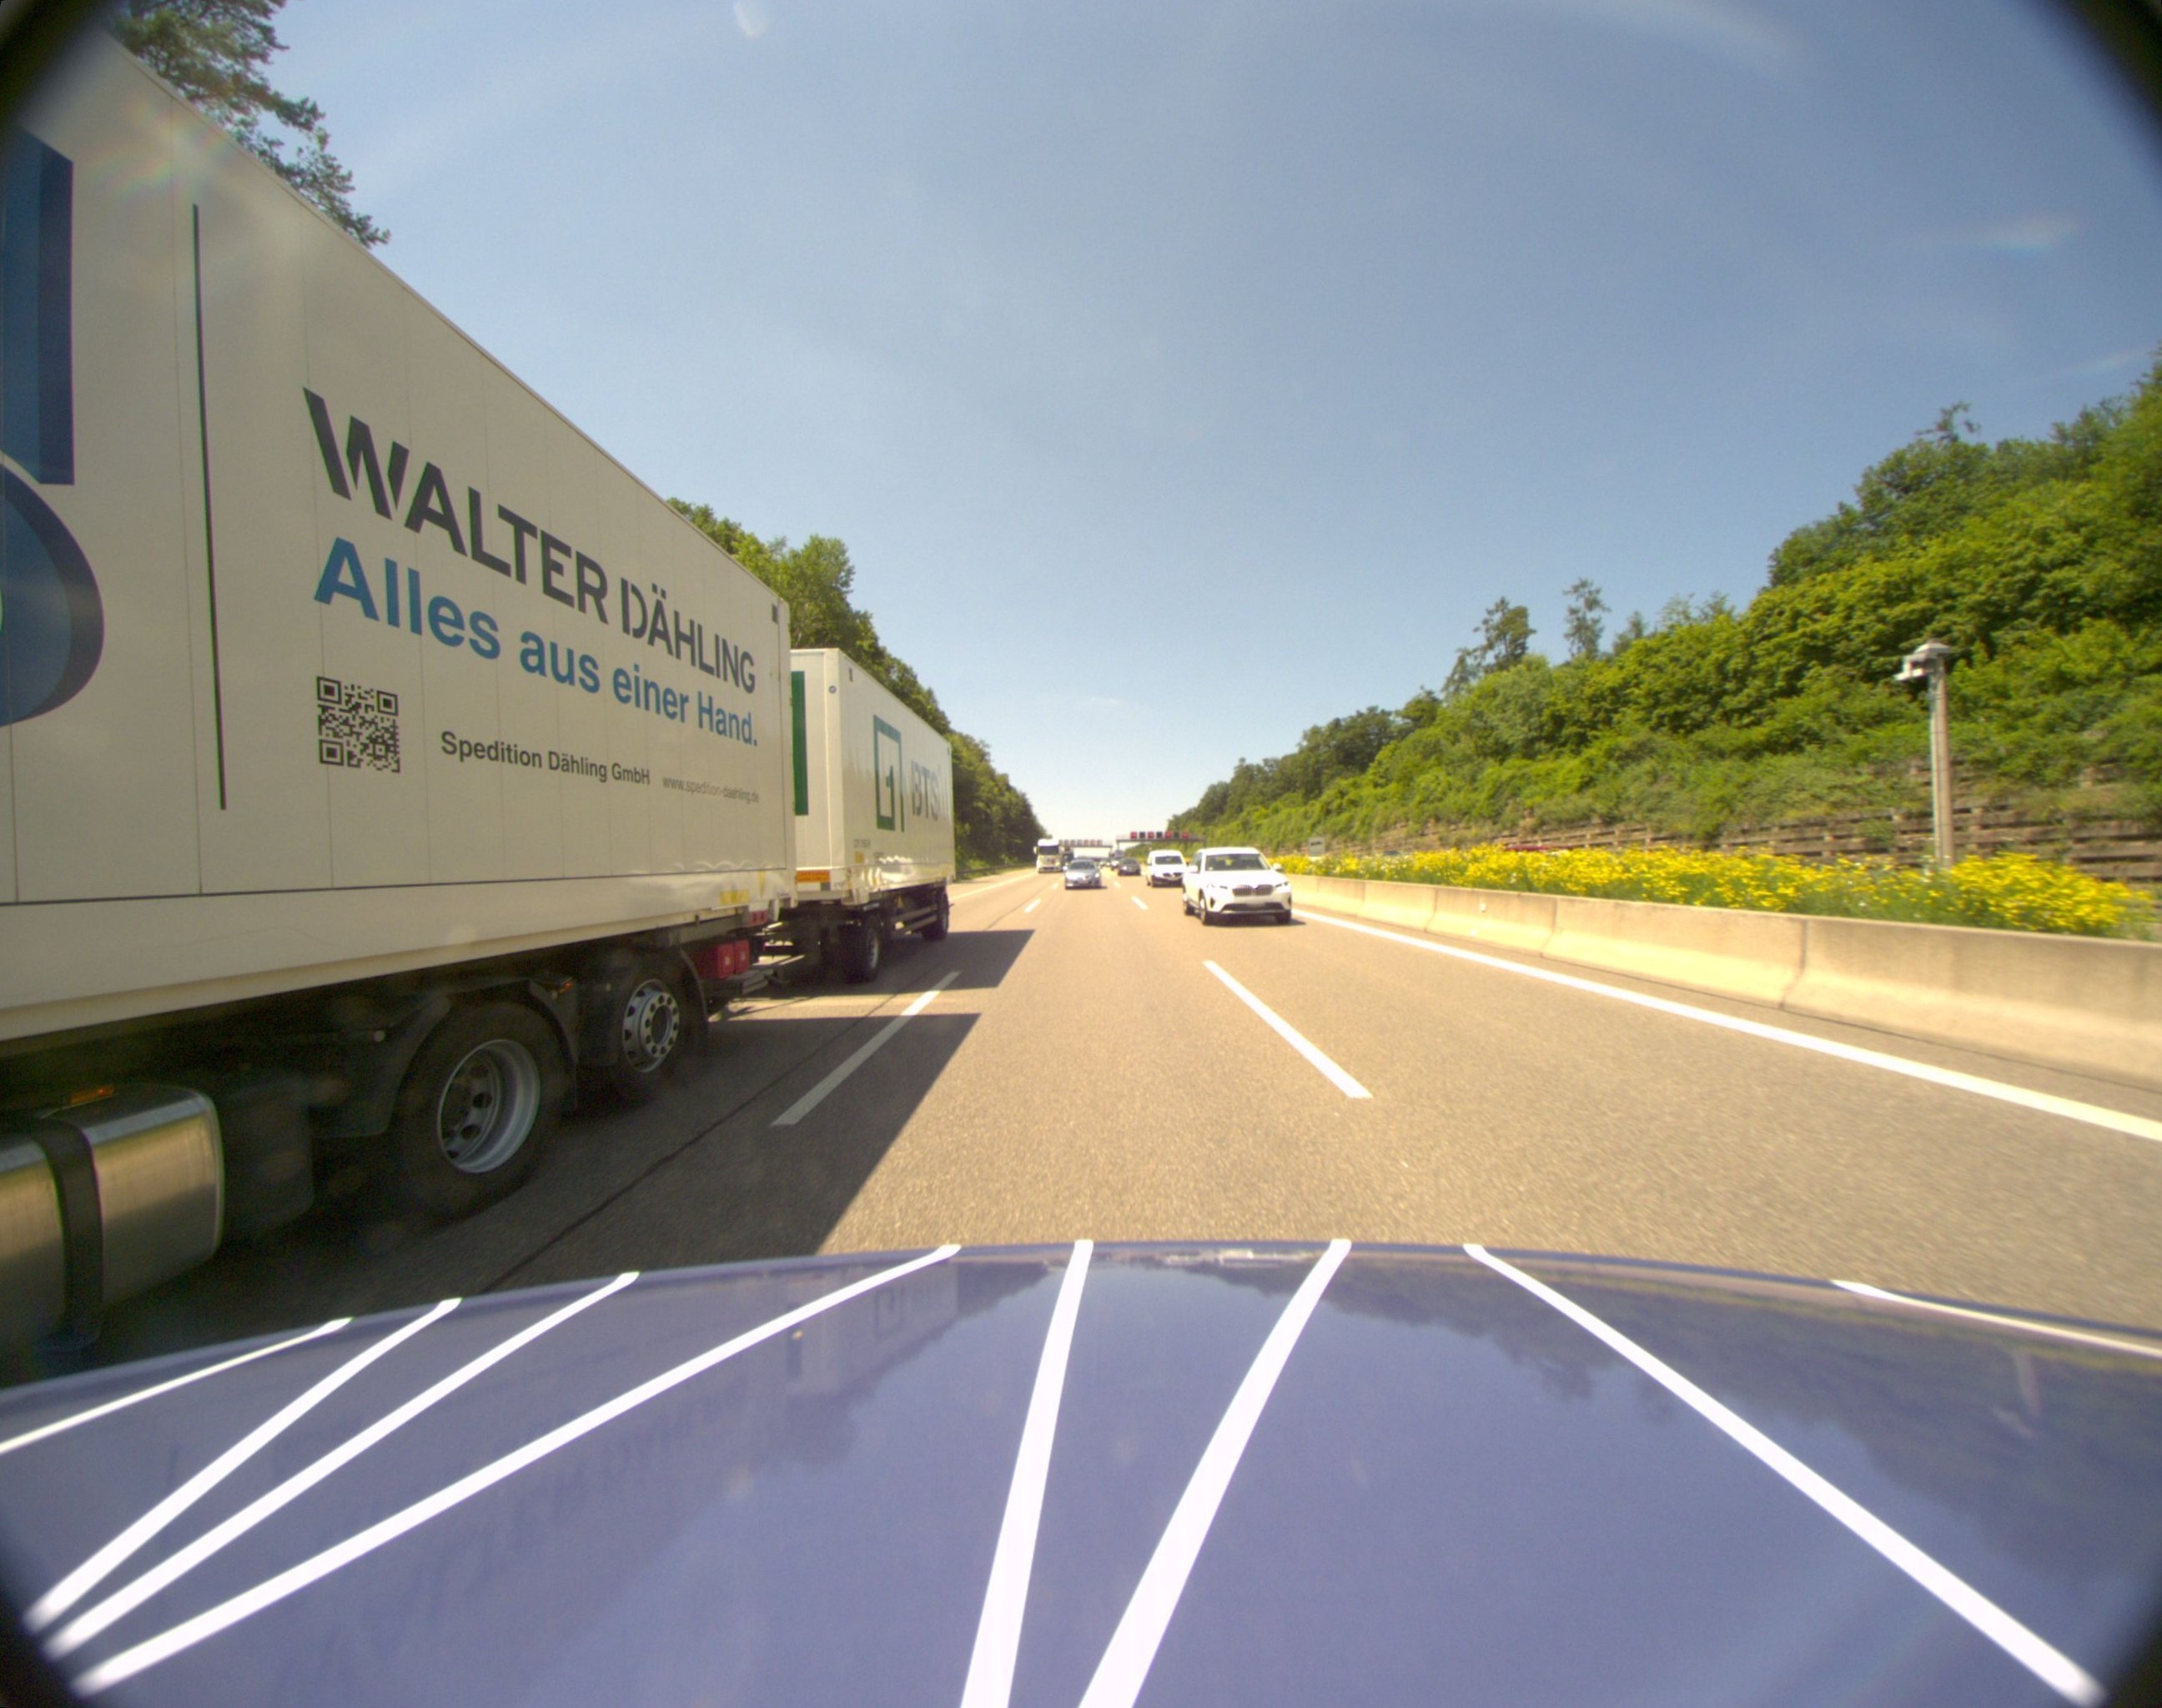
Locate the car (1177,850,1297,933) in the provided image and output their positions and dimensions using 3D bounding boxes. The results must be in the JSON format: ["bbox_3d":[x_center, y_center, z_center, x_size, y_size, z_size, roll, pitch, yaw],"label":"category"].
[{"bbox_3d":[3.452,0.757,17.632,1.850,1.634,4.368,-2,0,0],"label":"car"}]

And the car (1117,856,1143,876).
[{"bbox_3d":[4.002,0.955,62.641,1.770,1.504,4.726,-3,-1,0],"label":"car"}]

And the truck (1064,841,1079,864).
[{"bbox_3d":[-1.950,-0.202,156.856,2.627,4.364,13.089,-3,-1,0],"label":"truck"}]

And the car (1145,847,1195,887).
[{"bbox_3d":[4.375,0.631,37.954,1.998,1.764,4.502,-3,-1,2],"label":"car"}]

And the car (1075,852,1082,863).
[{"bbox_3d":[-0.723,1.093,234.588,1.924,3.522,4.825,-3,-1,2],"label":"car"}]

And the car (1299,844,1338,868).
[{"bbox_3d":[19.466,0.125,62.488,1.815,1.797,4.501,-3,1,2],"label":"car"}]

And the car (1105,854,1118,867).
[{"bbox_3d":[4.626,1.024,116.247,1.924,1.848,4.001,-3,-1,2],"label":"car"}]

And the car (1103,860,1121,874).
[{"bbox_3d":[3.504,1.453,85.748,1.770,1.504,4.000,-3,-1,0],"label":"car"}]

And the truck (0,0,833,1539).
[{"bbox_3d":[-4.049,-0.282,2.560,2.686,4.035,10.627,-2,-1,1],"label":"truck"}]

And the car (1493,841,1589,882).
[{"bbox_3d":[22.470,0.309,37.364,1.998,1.797,4.654,-3,1,2],"label":"car"}]

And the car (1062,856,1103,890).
[{"bbox_3d":[0.131,0.950,38.494,1.843,1.517,4.502,-3,-1,2],"label":"car"}]

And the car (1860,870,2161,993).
[{"bbox_3d":[14.859,1.041,11.324,1.792,1.513,4.586,0,0,0],"label":"car"}]

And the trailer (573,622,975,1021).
[{"bbox_3d":[-3.960,-0.274,13.081,2.687,4.150,10.066,-2,-1,0],"label":"trailer"}]

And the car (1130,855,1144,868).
[{"bbox_3d":[6.511,0.872,88.608,1.442,1.513,3.153,0,0,0],"label":"car"}]

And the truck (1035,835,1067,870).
[{"bbox_3d":[-3.289,-0.091,86.220,2.844,3.517,13.089,-3,-1,0],"label":"truck"}]

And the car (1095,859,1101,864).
[{"bbox_3d":[5.695,2.521,255.733,1.924,1.848,4.001,-3,-1,2],"label":"car"}]

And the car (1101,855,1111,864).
[{"bbox_3d":[5.357,1.139,163.798,1.924,1.848,4.001,-3,-1,2],"label":"car"}]
